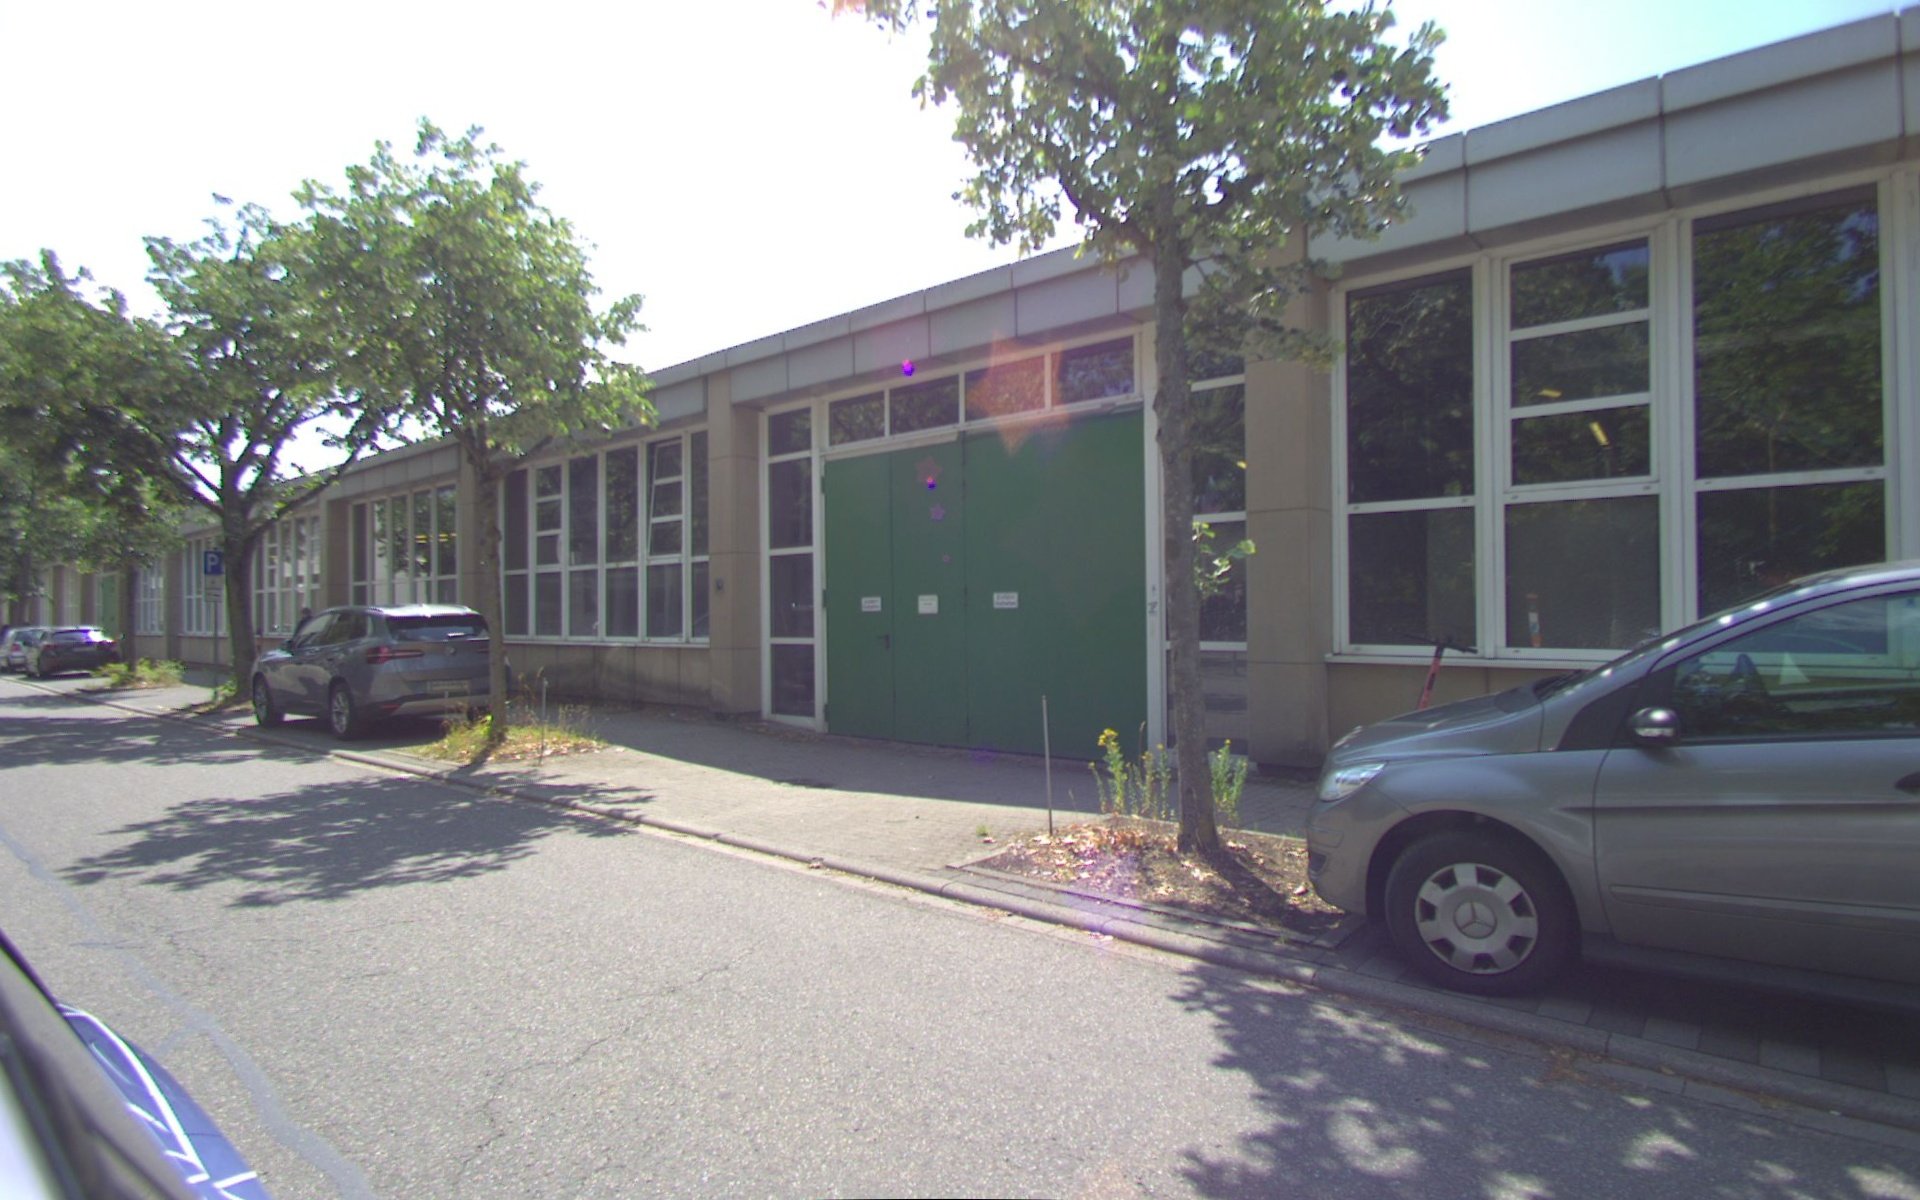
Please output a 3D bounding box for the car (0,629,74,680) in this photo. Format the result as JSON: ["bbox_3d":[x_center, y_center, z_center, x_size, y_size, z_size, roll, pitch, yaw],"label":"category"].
[{"bbox_3d":[-30.062,1.738,32.690,3.750,1.460,1.613,-2,1,40],"label":"car"}]

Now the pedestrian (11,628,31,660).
[{"bbox_3d":[-47.906,2.250,51.637,0.550,1.593,0.598,-3,-4,38],"label":"pedestrian"}]

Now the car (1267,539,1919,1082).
[{"bbox_3d":[3.405,0.585,3.514,4.109,1.568,1.740,-1,0,39],"label":"car"}]

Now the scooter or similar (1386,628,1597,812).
[{"bbox_3d":[3.746,0.801,7.176,1.215,1.178,0.500,-2,0,41],"label":"scooter or similar"}]

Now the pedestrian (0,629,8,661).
[{"bbox_3d":[-48.525,2.251,50.960,0.595,1.593,0.553,1,-4,-19],"label":"pedestrian"}]

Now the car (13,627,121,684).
[{"bbox_3d":[-25.832,1.581,29.233,4.286,1.446,1.708,-3,0,40],"label":"car"}]

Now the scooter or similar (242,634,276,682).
[{"bbox_3d":[-18.385,1.523,26.539,1.245,1.216,0.379,-3,0,40],"label":"scooter or similar"}]

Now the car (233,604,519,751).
[{"bbox_3d":[-8.036,0.936,13.756,4.511,1.644,1.804,-1,0,38],"label":"car"}]

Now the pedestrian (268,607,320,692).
[{"bbox_3d":[-14.554,1.065,22.106,0.670,1.800,0.779,-3,-1,44],"label":"pedestrian"}]
